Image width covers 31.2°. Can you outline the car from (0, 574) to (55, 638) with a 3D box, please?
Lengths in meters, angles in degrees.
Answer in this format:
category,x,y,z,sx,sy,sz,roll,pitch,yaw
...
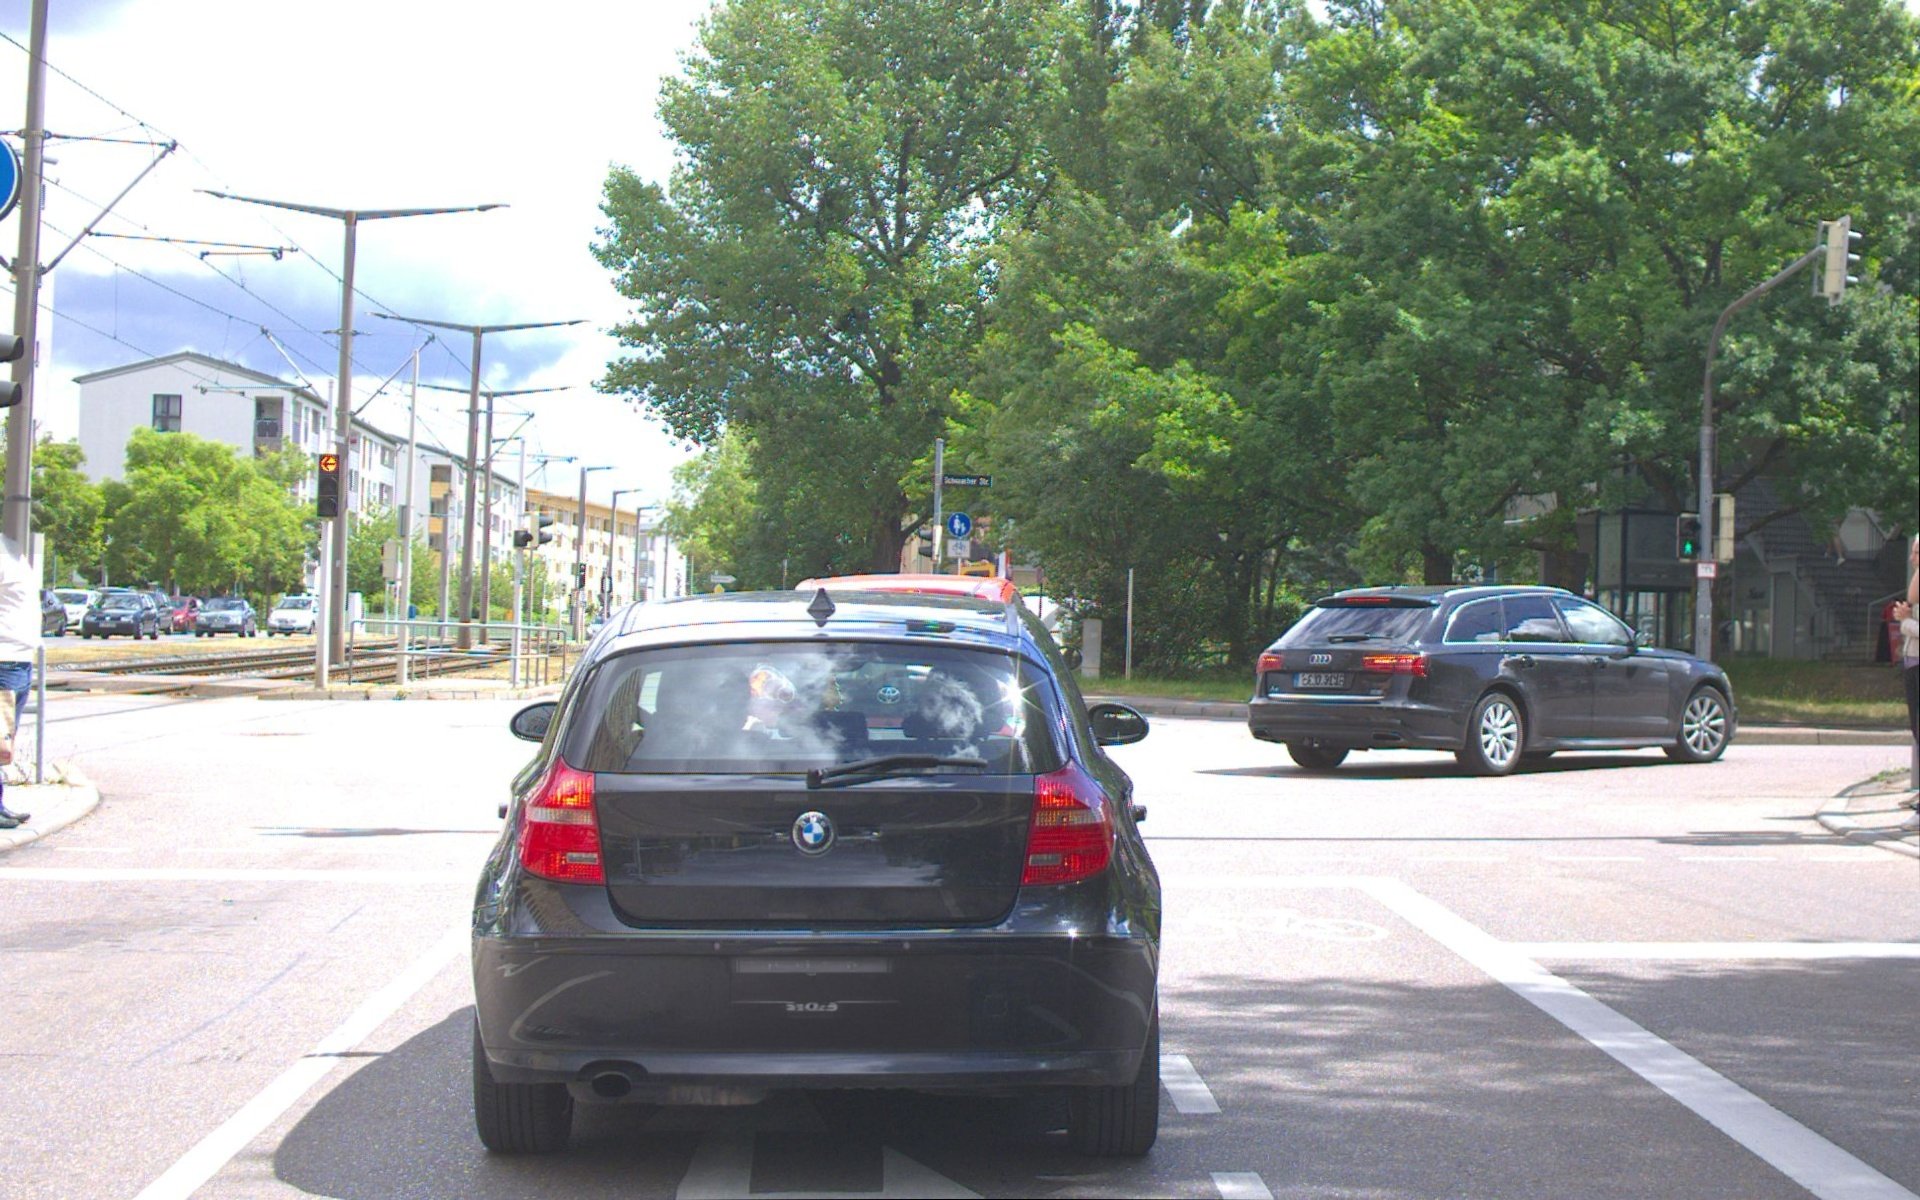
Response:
category,x,y,z,sx,sy,sz,roll,pitch,yaw
car,-23.666,0.123,84.993,1.651,1.529,3.872,1,0,-2

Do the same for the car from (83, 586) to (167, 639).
category,x,y,z,sx,sy,sz,roll,pitch,yaw
car,-25.148,0.352,103.668,1.651,1.529,3.872,1,0,-2

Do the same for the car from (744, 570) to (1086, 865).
category,x,y,z,sx,sy,sz,roll,pitch,yaw
car,-0.223,0.556,18.389,1.638,1.395,3.420,1,1,0

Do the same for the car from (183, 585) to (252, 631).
category,x,y,z,sx,sy,sz,roll,pitch,yaw
car,-26.011,0.268,120.593,1.651,1.529,3.872,1,0,-2

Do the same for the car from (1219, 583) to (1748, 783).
category,x,y,z,sx,sy,sz,roll,pitch,yaw
car,4.219,0.602,27.205,1.905,1.417,4.527,2,1,43

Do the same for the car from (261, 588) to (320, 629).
category,x,y,z,sx,sy,sz,roll,pitch,yaw
car,-26.278,0.327,134.984,1.651,1.529,3.872,1,0,-2

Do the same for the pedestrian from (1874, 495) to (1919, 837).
category,x,y,z,sx,sy,sz,roll,pitch,yaw
pedestrian,5.448,0.363,19.054,0.636,1.870,0.518,1,1,6

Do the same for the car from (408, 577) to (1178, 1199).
category,x,y,z,sx,sy,sz,roll,pitch,yaw
car,-0.379,0.657,9.393,1.700,1.395,3.420,1,1,0

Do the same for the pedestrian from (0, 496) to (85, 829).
category,x,y,z,sx,sy,sz,roll,pitch,yaw
pedestrian,-5.061,0.320,18.174,0.687,1.728,0.687,0,0,0

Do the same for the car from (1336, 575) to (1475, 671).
category,x,y,z,sx,sy,sz,roll,pitch,yaw
car,9.070,0.436,70.256,1.726,1.865,4.001,1,0,-9
